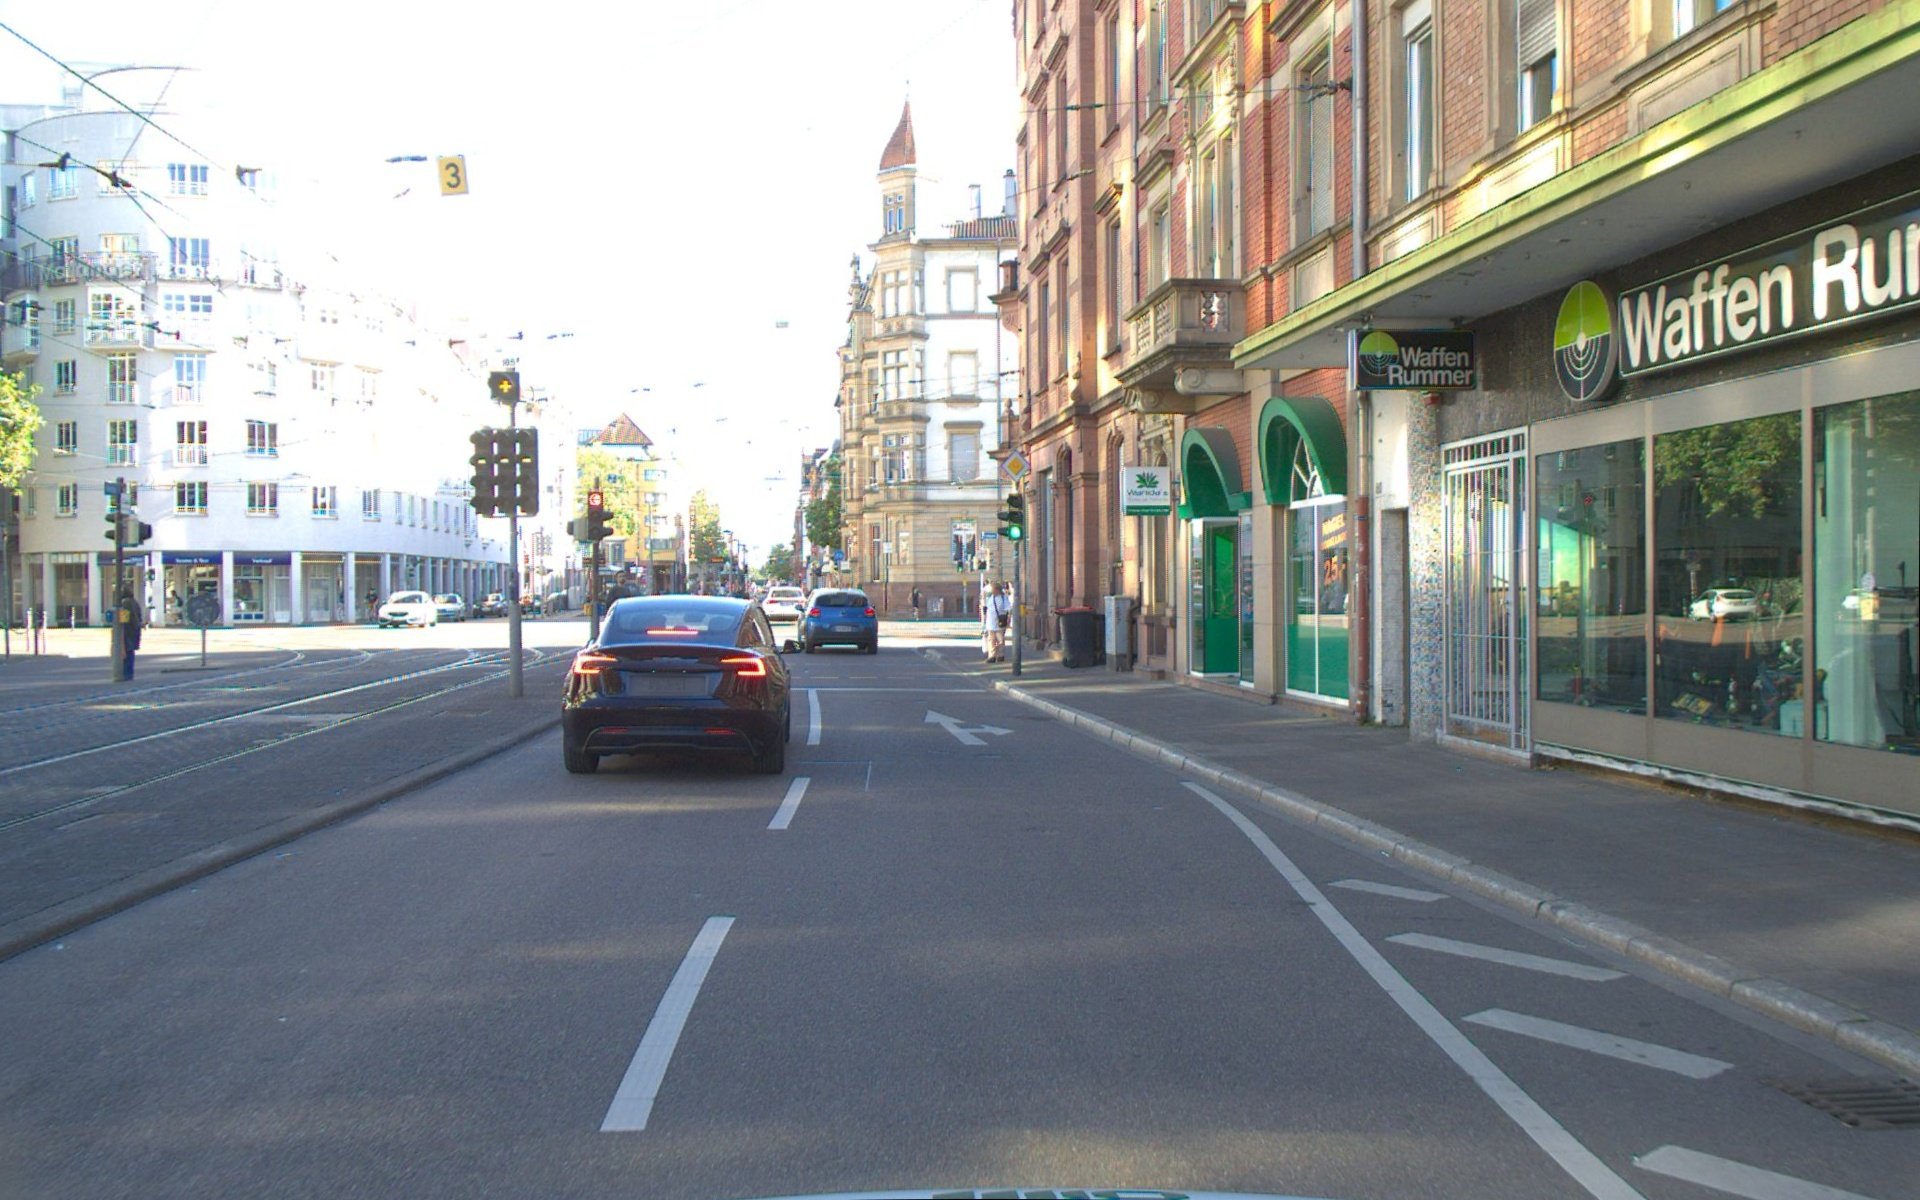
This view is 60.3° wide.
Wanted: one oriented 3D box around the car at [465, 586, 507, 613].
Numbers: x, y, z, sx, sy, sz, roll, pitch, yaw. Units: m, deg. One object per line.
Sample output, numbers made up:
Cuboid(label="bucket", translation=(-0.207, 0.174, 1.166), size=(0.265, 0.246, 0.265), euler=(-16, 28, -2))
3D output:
Cuboid(label="car", translation=(-29.200, -0.027, 101.993), size=(1.957, 1.624, 3.992), euler=(-1, -1, -9))

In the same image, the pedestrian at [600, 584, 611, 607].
Cuboid(label="pedestrian", translation=(-24.814, -0.322, 115.755), size=(0.717, 1.554, 0.742), euler=(0, 1, -8))

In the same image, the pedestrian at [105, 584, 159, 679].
Cuboid(label="pedestrian", translation=(-13.961, 0.517, 27.888), size=(0.490, 1.544, 0.858), euler=(-2, 1, -7))

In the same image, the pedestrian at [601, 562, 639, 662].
Cuboid(label="pedestrian", translation=(-6.286, 0.217, 30.619), size=(0.547, 1.794, 0.894), euler=(-2, 1, -7))

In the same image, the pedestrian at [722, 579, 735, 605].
Cuboid(label="pedestrian", translation=(-16.000, -0.553, 114.278), size=(0.703, 1.808, 0.564), euler=(0, 0, 29))

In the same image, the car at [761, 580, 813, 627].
Cuboid(label="car", translation=(-6.912, 0.145, 65.965), size=(1.955, 1.773, 3.994), euler=(1, -1, -6))

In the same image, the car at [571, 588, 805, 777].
Cuboid(label="car", translation=(-2.354, 0.635, 14.923), size=(1.776, 1.448, 4.147), euler=(1, 0, -7))

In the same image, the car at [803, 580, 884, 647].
Cuboid(label="car", translation=(-2.802, 0.288, 39.072), size=(1.747, 1.476, 3.649), euler=(1, 0, -6))

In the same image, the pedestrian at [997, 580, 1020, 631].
Cuboid(label="pedestrian", translation=(1.706, 0.202, 57.894), size=(0.629, 1.775, 0.706), euler=(1, -1, 15))

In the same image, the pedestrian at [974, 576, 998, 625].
Cuboid(label="pedestrian", translation=(0.913, 0.015, 58.017), size=(0.685, 1.684, 0.632), euler=(-1, -1, 15))

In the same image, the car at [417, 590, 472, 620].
Cuboid(label="car", translation=(-26.466, 0.224, 85.008), size=(1.956, 1.477, 4.641), euler=(-1, 1, -8))

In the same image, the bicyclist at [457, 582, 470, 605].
Cuboid(label="bicyclist", translation=(-28.407, -0.352, 94.665), size=(0.578, 1.308, 0.990), euler=(-1, -1, -10))

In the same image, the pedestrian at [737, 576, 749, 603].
Cuboid(label="pedestrian", translation=(-14.354, -0.704, 109.450), size=(0.623, 1.727, 0.933), euler=(1, -1, 1))

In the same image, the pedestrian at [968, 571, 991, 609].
Cuboid(label="pedestrian", translation=(0.835, -0.417, 70.464), size=(0.620, 1.564, 0.941), euler=(-1, -1, 25))

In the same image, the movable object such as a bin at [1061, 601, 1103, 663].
Cuboid(label="movable object such as a bin", translation=(2.245, 0.578, 30.494), size=(0.650, 1.091, 0.590), euler=(-3, 0, -5))

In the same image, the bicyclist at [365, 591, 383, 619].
Cuboid(label="bicyclist", translation=(-27.817, 0.230, 78.501), size=(0.577, 1.308, 0.925), euler=(-1, -1, -6))

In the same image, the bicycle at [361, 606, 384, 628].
Cuboid(label="bicycle", translation=(-27.835, 0.798, 78.401), size=(0.582, 0.989, 1.815), euler=(-1, -1, -6))

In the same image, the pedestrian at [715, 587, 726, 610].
Cuboid(label="pedestrian", translation=(-16.484, -0.128, 113.728), size=(0.574, 1.589, 0.469), euler=(0, 0, 29))

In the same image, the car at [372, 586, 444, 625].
Cuboid(label="car", translation=(-22.357, 0.205, 67.172), size=(1.956, 1.477, 4.494), euler=(-1, 1, -8))

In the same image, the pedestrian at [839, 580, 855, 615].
Cuboid(label="pedestrian", translation=(-5.892, -0.119, 86.301), size=(0.765, 1.780, 1.091), euler=(0, 2, -9))

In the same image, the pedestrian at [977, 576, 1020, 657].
Cuboid(label="pedestrian", translation=(0.782, 0.329, 33.725), size=(0.670, 1.635, 0.728), euler=(-1, 0, -16))

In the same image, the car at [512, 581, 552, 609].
Cuboid(label="car", translation=(-30.147, -0.346, 116.637), size=(2.185, 1.944, 4.601), euler=(0, 0, -8))

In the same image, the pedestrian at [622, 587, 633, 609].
Cuboid(label="pedestrian", translation=(-24.949, -0.165, 124.097), size=(0.717, 1.586, 0.742), euler=(0, 1, -8))

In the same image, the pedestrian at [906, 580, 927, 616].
Cuboid(label="pedestrian", translation=(-2.049, -0.084, 77.608), size=(0.903, 1.660, 0.942), euler=(-1, -1, 2))
